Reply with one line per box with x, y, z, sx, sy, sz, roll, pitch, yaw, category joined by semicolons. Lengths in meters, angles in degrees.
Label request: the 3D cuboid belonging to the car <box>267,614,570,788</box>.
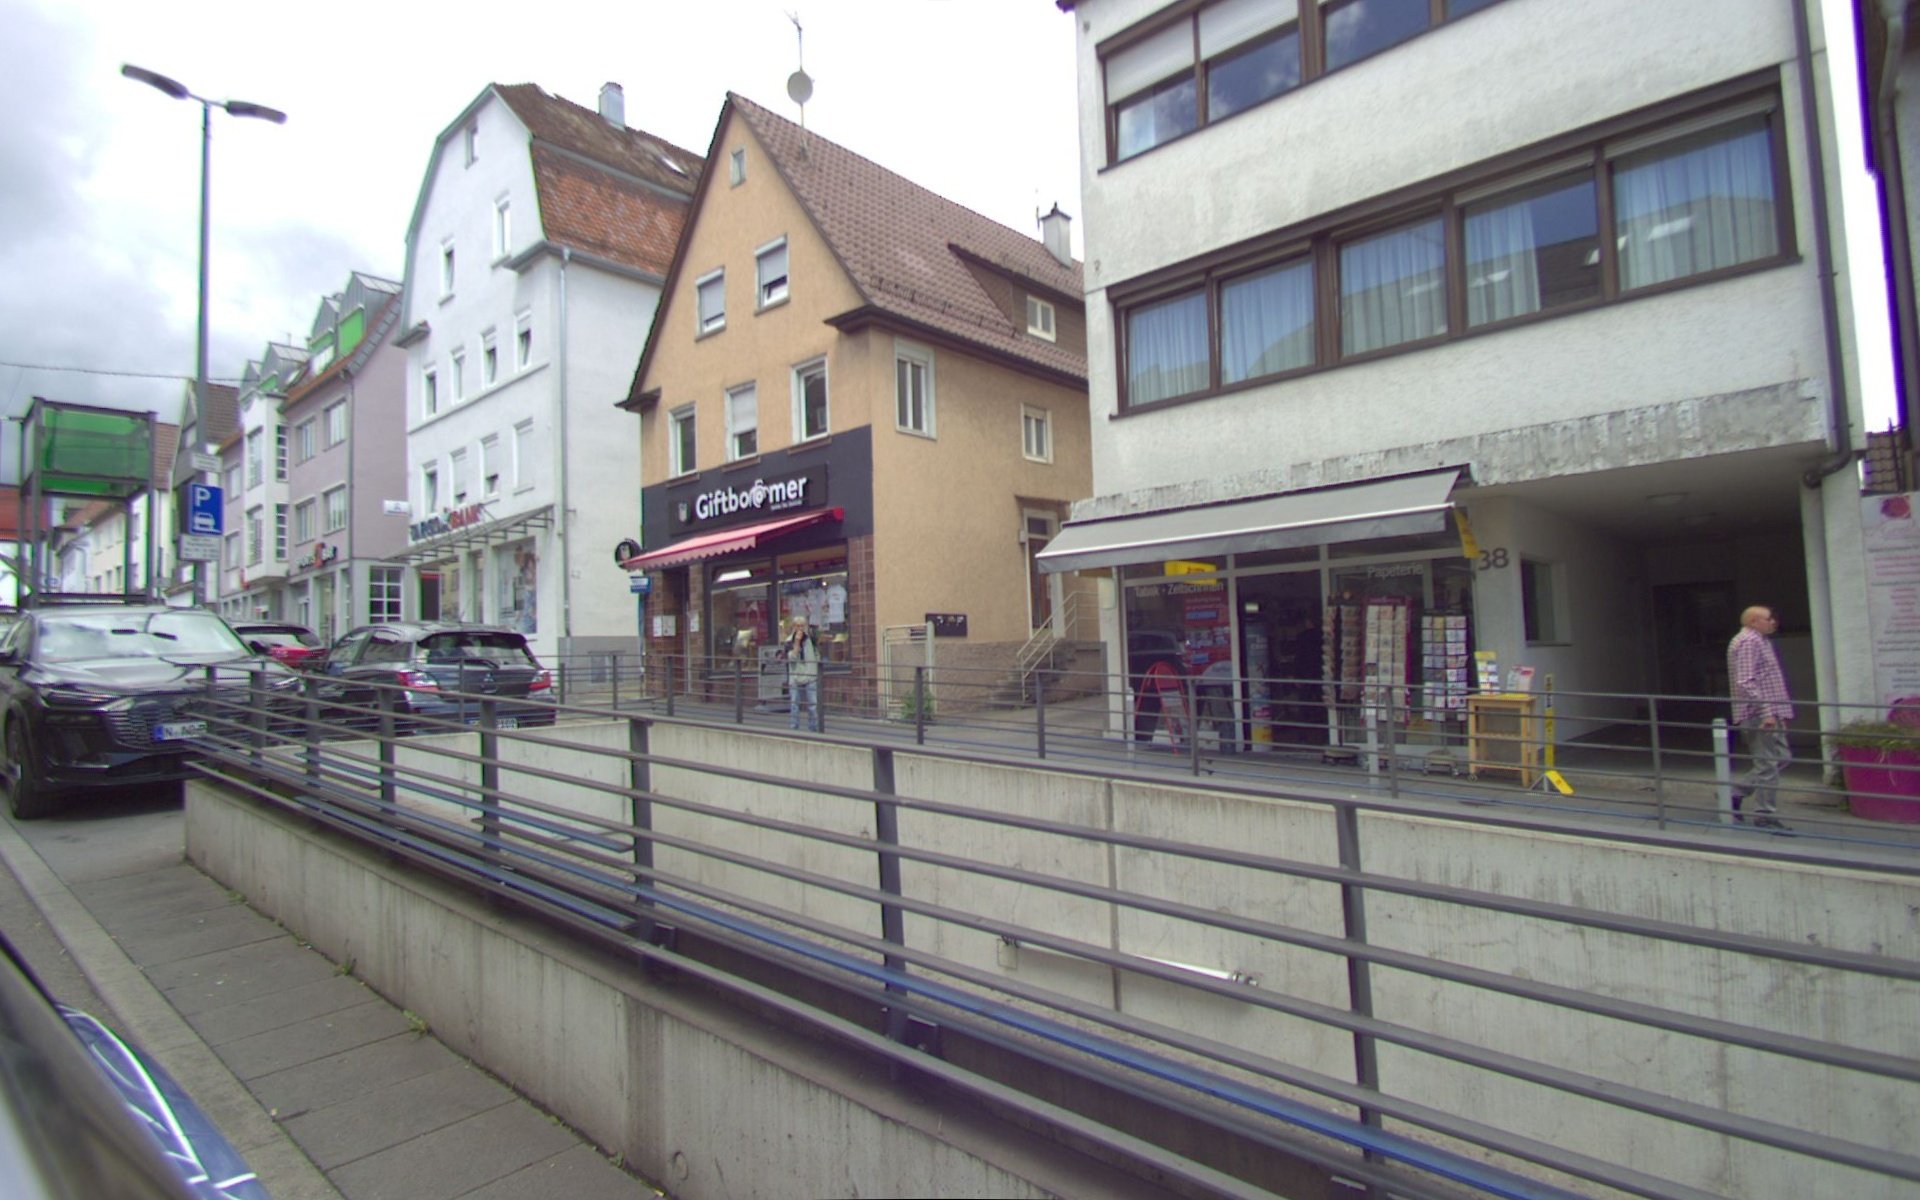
-6.048;0.961;11.108;3.897;1.559;1.681;-2;-1;41;car

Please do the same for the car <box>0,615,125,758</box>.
-12.085;1.029;13.007;3.531;1.622;1.556;-2;-1;41;car

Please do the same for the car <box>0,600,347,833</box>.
-7.415;0.838;9.049;4.427;1.578;1.974;-2;-1;40;car

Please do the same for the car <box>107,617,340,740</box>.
-11.441;1.098;15.601;4.492;1.601;1.973;-2;-1;41;car

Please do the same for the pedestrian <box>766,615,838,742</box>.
-2.228;1.081;14.302;0.664;1.727;0.738;-2;-3;42;pedestrian

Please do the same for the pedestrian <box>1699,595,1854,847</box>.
6.147;0.864;7.627;0.825;1.753;0.686;-2;-3;43;pedestrian
